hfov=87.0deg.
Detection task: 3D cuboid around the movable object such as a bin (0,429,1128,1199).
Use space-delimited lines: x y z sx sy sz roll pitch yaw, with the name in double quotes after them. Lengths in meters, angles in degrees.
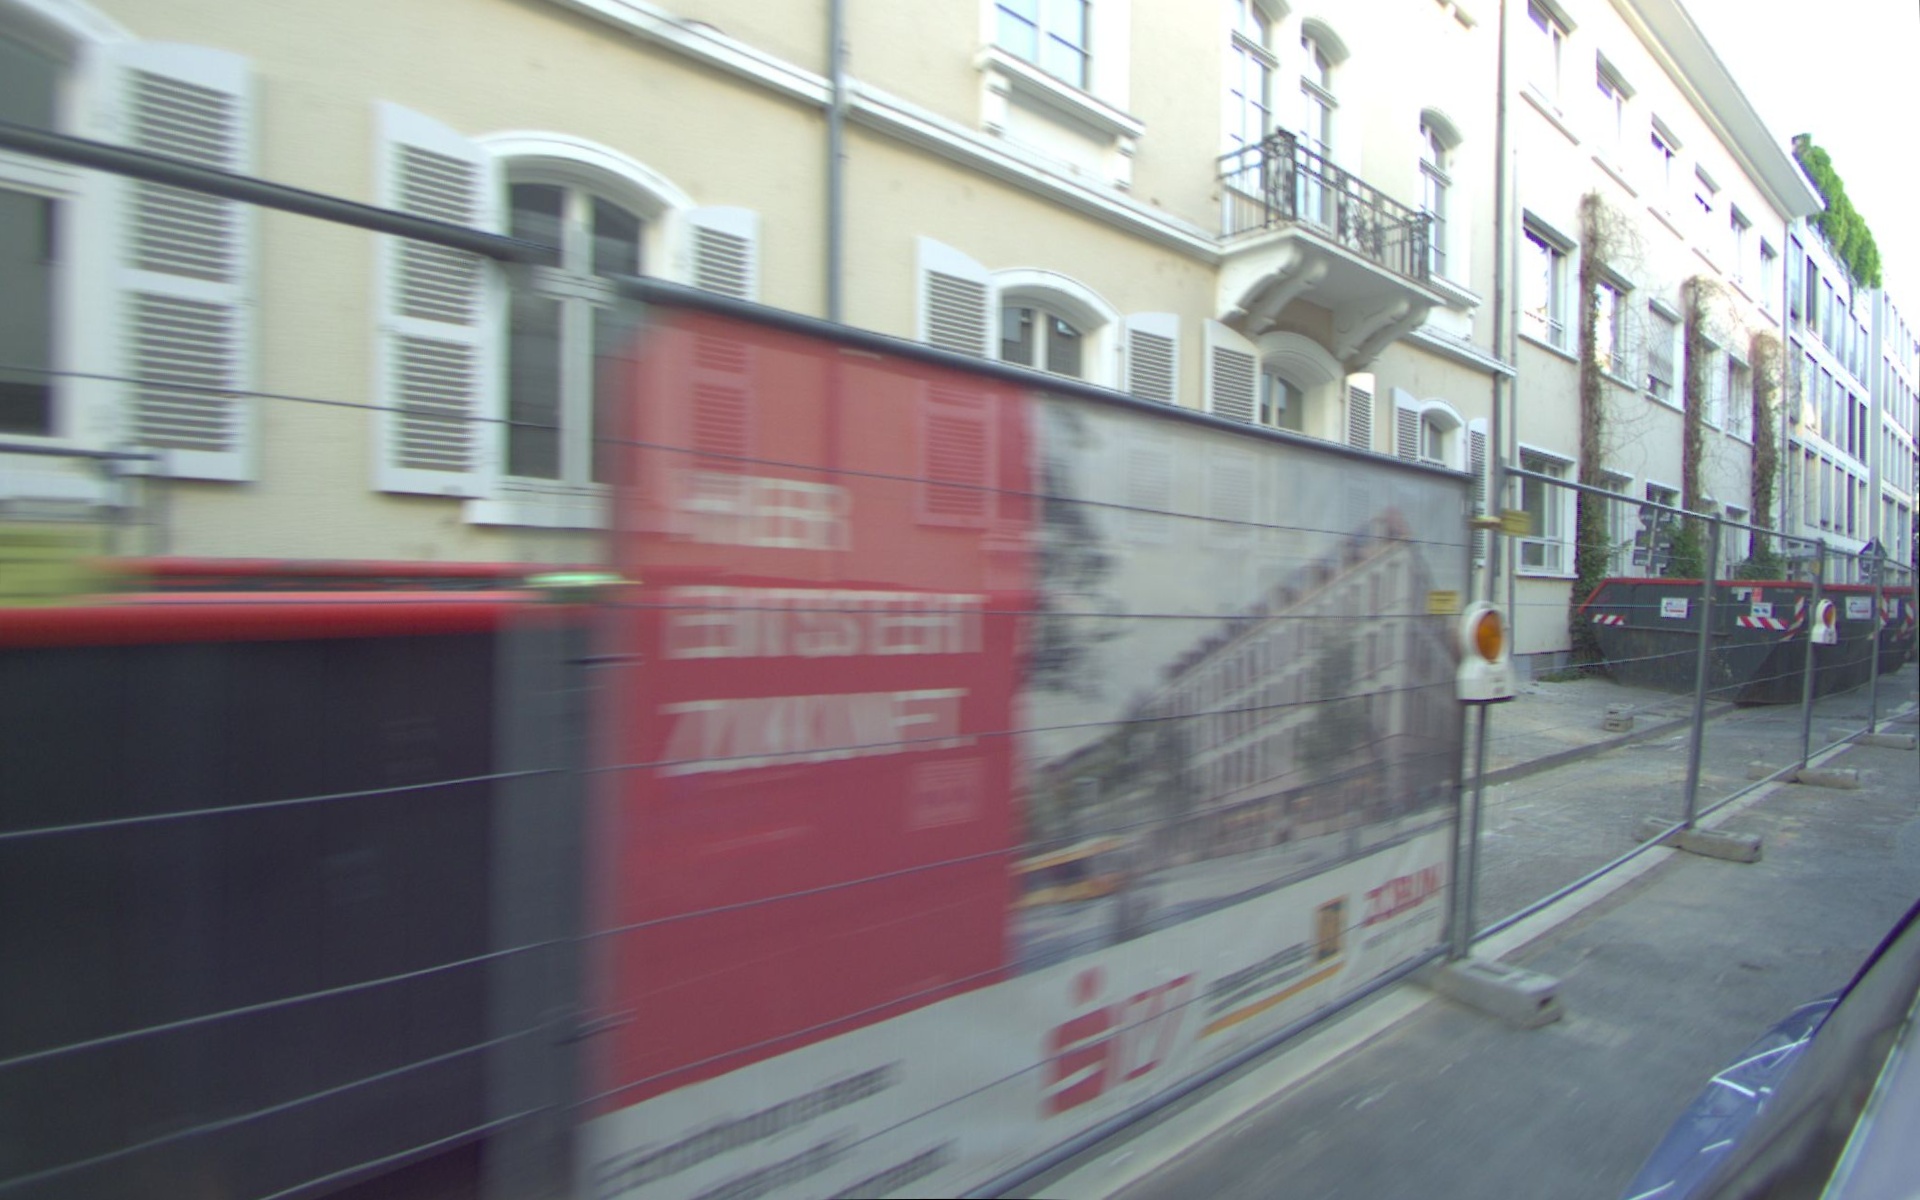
-3.078 0.555 1.776 7.170 1.685 2.894 0 1 -43 "movable object such as a bin"
